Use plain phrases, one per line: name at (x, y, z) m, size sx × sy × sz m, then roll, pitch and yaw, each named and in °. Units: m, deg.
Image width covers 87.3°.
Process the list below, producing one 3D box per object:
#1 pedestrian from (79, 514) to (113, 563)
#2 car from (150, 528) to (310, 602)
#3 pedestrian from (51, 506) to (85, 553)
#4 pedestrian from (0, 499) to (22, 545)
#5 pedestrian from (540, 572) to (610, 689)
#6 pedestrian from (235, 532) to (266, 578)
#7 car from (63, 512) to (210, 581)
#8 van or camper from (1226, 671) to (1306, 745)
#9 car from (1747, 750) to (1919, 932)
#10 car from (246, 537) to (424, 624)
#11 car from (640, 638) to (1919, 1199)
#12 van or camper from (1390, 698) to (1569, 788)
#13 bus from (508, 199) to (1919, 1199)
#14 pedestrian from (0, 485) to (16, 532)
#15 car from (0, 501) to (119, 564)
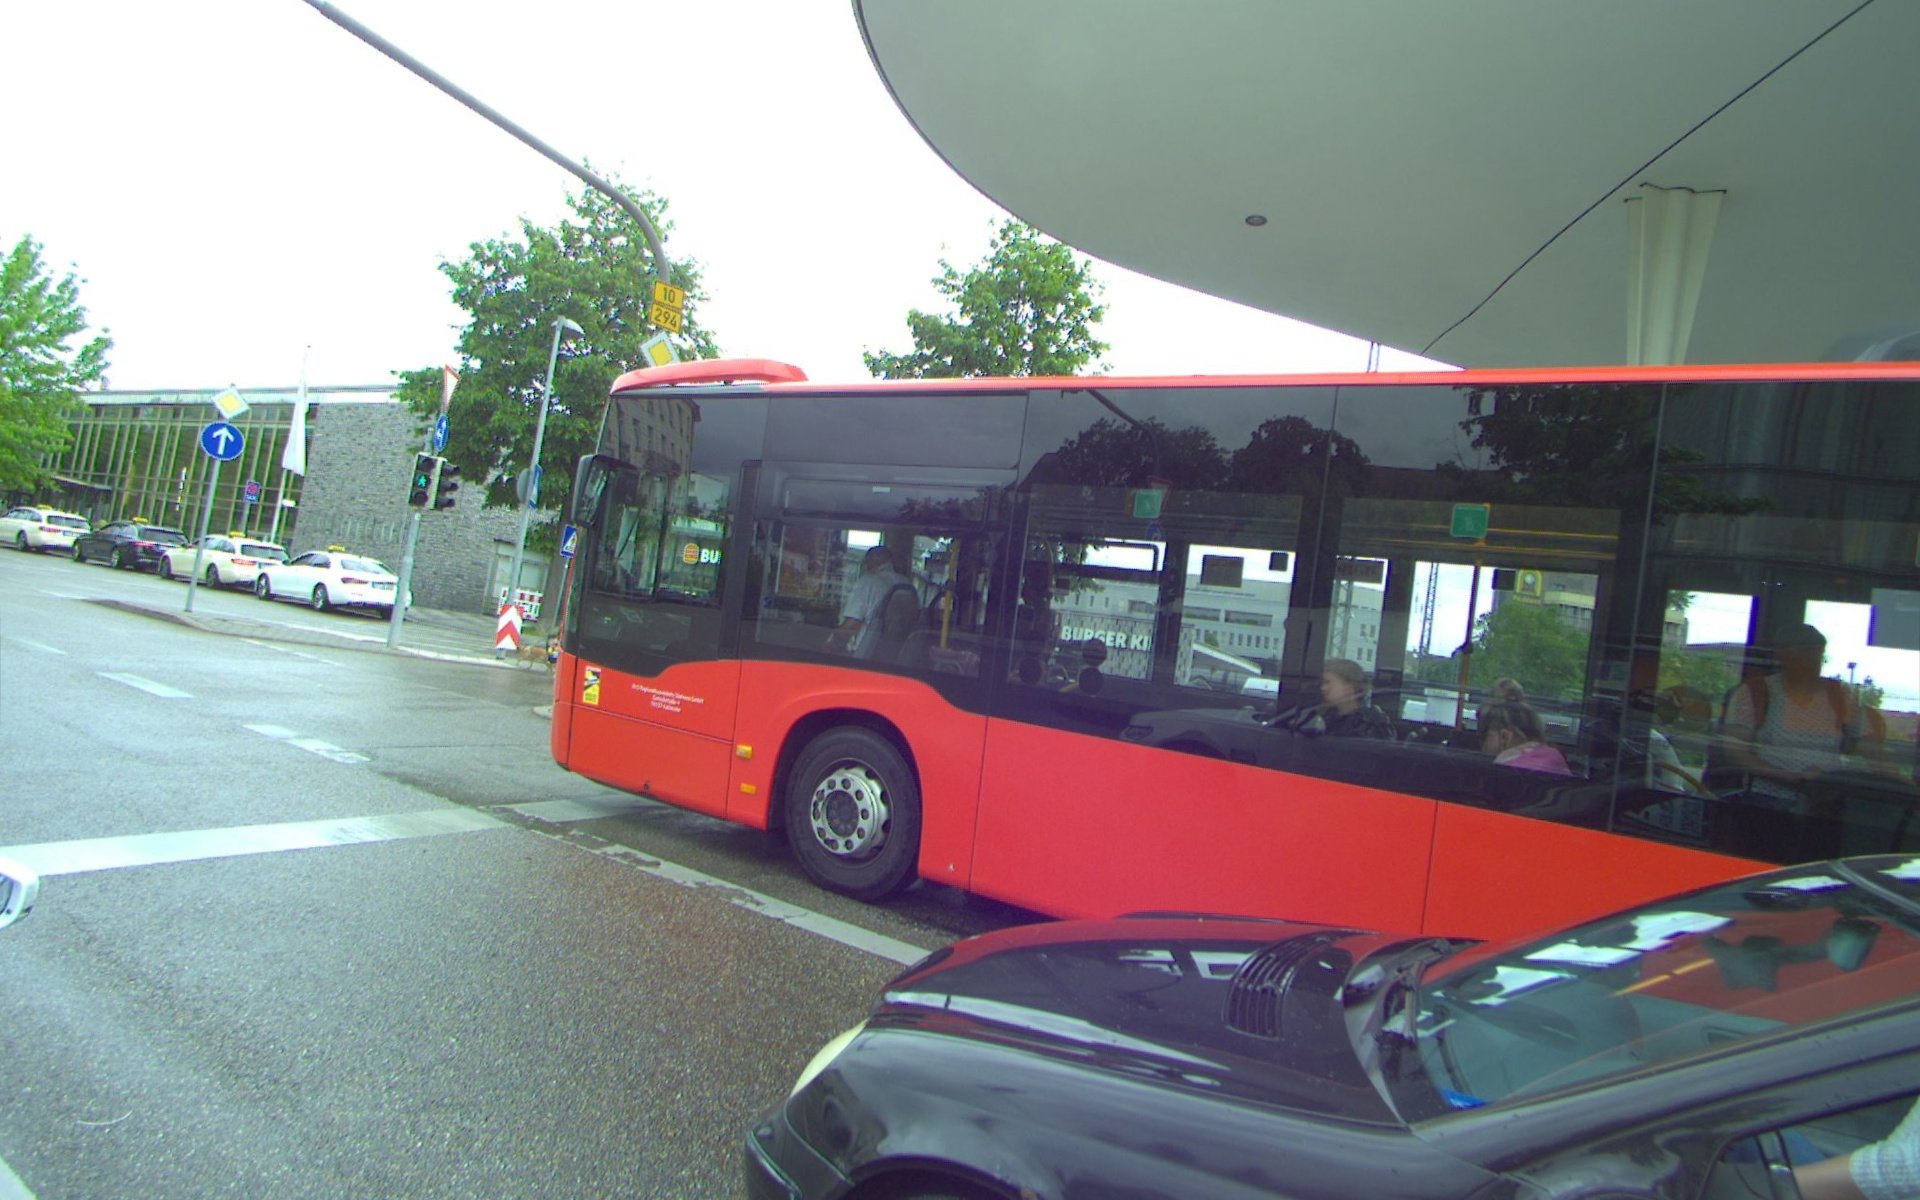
pedestrian at (-32.775, -2.334, 38.156) m, size 0.703 × 1.729 × 0.566 m, roll 7°, pitch -2°, yaw 27°
car at (-20.625, -1.005, 28.375) m, size 4.588 × 1.468 × 1.851 m, roll 7°, pitch -2°, yaw 30°
pedestrian at (-41.160, -3.243, 46.417) m, size 0.814 × 2.037 × 0.771 m, roll 7°, pitch -1°, yaw 30°
pedestrian at (-44.986, -3.703, 47.406) m, size 0.814 × 2.037 × 0.771 m, roll 7°, pitch -1°, yaw 30°
pedestrian at (-5.993, 0.469, 15.687) m, size 0.799 × 1.693 × 0.709 m, roll 8°, pitch -1°, yaw -21°
pedestrian at (-27.620, -1.736, 39.160) m, size 0.703 × 1.665 × 0.565 m, roll 7°, pitch -1°, yaw 27°
car at (-25.832, -1.700, 31.517) m, size 4.661 × 1.542 × 1.918 m, roll 7°, pitch -2°, yaw 30°
van or camper at (12.546, 4.403, 41.005) m, size 2.072 × 2.491 × 5.975 m, roll 7°, pitch -3°, yaw 25°
car at (11.238, 2.797, 10.557) m, size 4.360 × 1.666 × 1.806 m, roll 7°, pitch -4°, yaw 32°
car at (-15.847, -0.508, 25.448) m, size 4.538 × 1.608 × 1.779 m, roll 7°, pitch -2°, yaw 30°
car at (1.751, 1.131, 1.477) m, size 4.361 × 1.495 × 1.752 m, roll 6°, pitch -5°, yaw 31°
van or camper at (20.345, 5.539, 39.537) m, size 5.873 × 2.491 × 2.108 m, roll 7°, pitch -2°, yaw 32°
bus at (2.142, 0.299, 5.235) m, size 10.026 × 3.210 × 2.749 m, roll 7°, pitch -2°, yaw 32°
pedestrian at (-52.490, -5.034, 55.008) m, size 0.848 × 2.439 × 0.844 m, roll 7°, pitch -1°, yaw 34°
car at (-31.427, -2.375, 34.527) m, size 4.736 × 1.618 × 2.000 m, roll 7°, pitch -2°, yaw 25°
